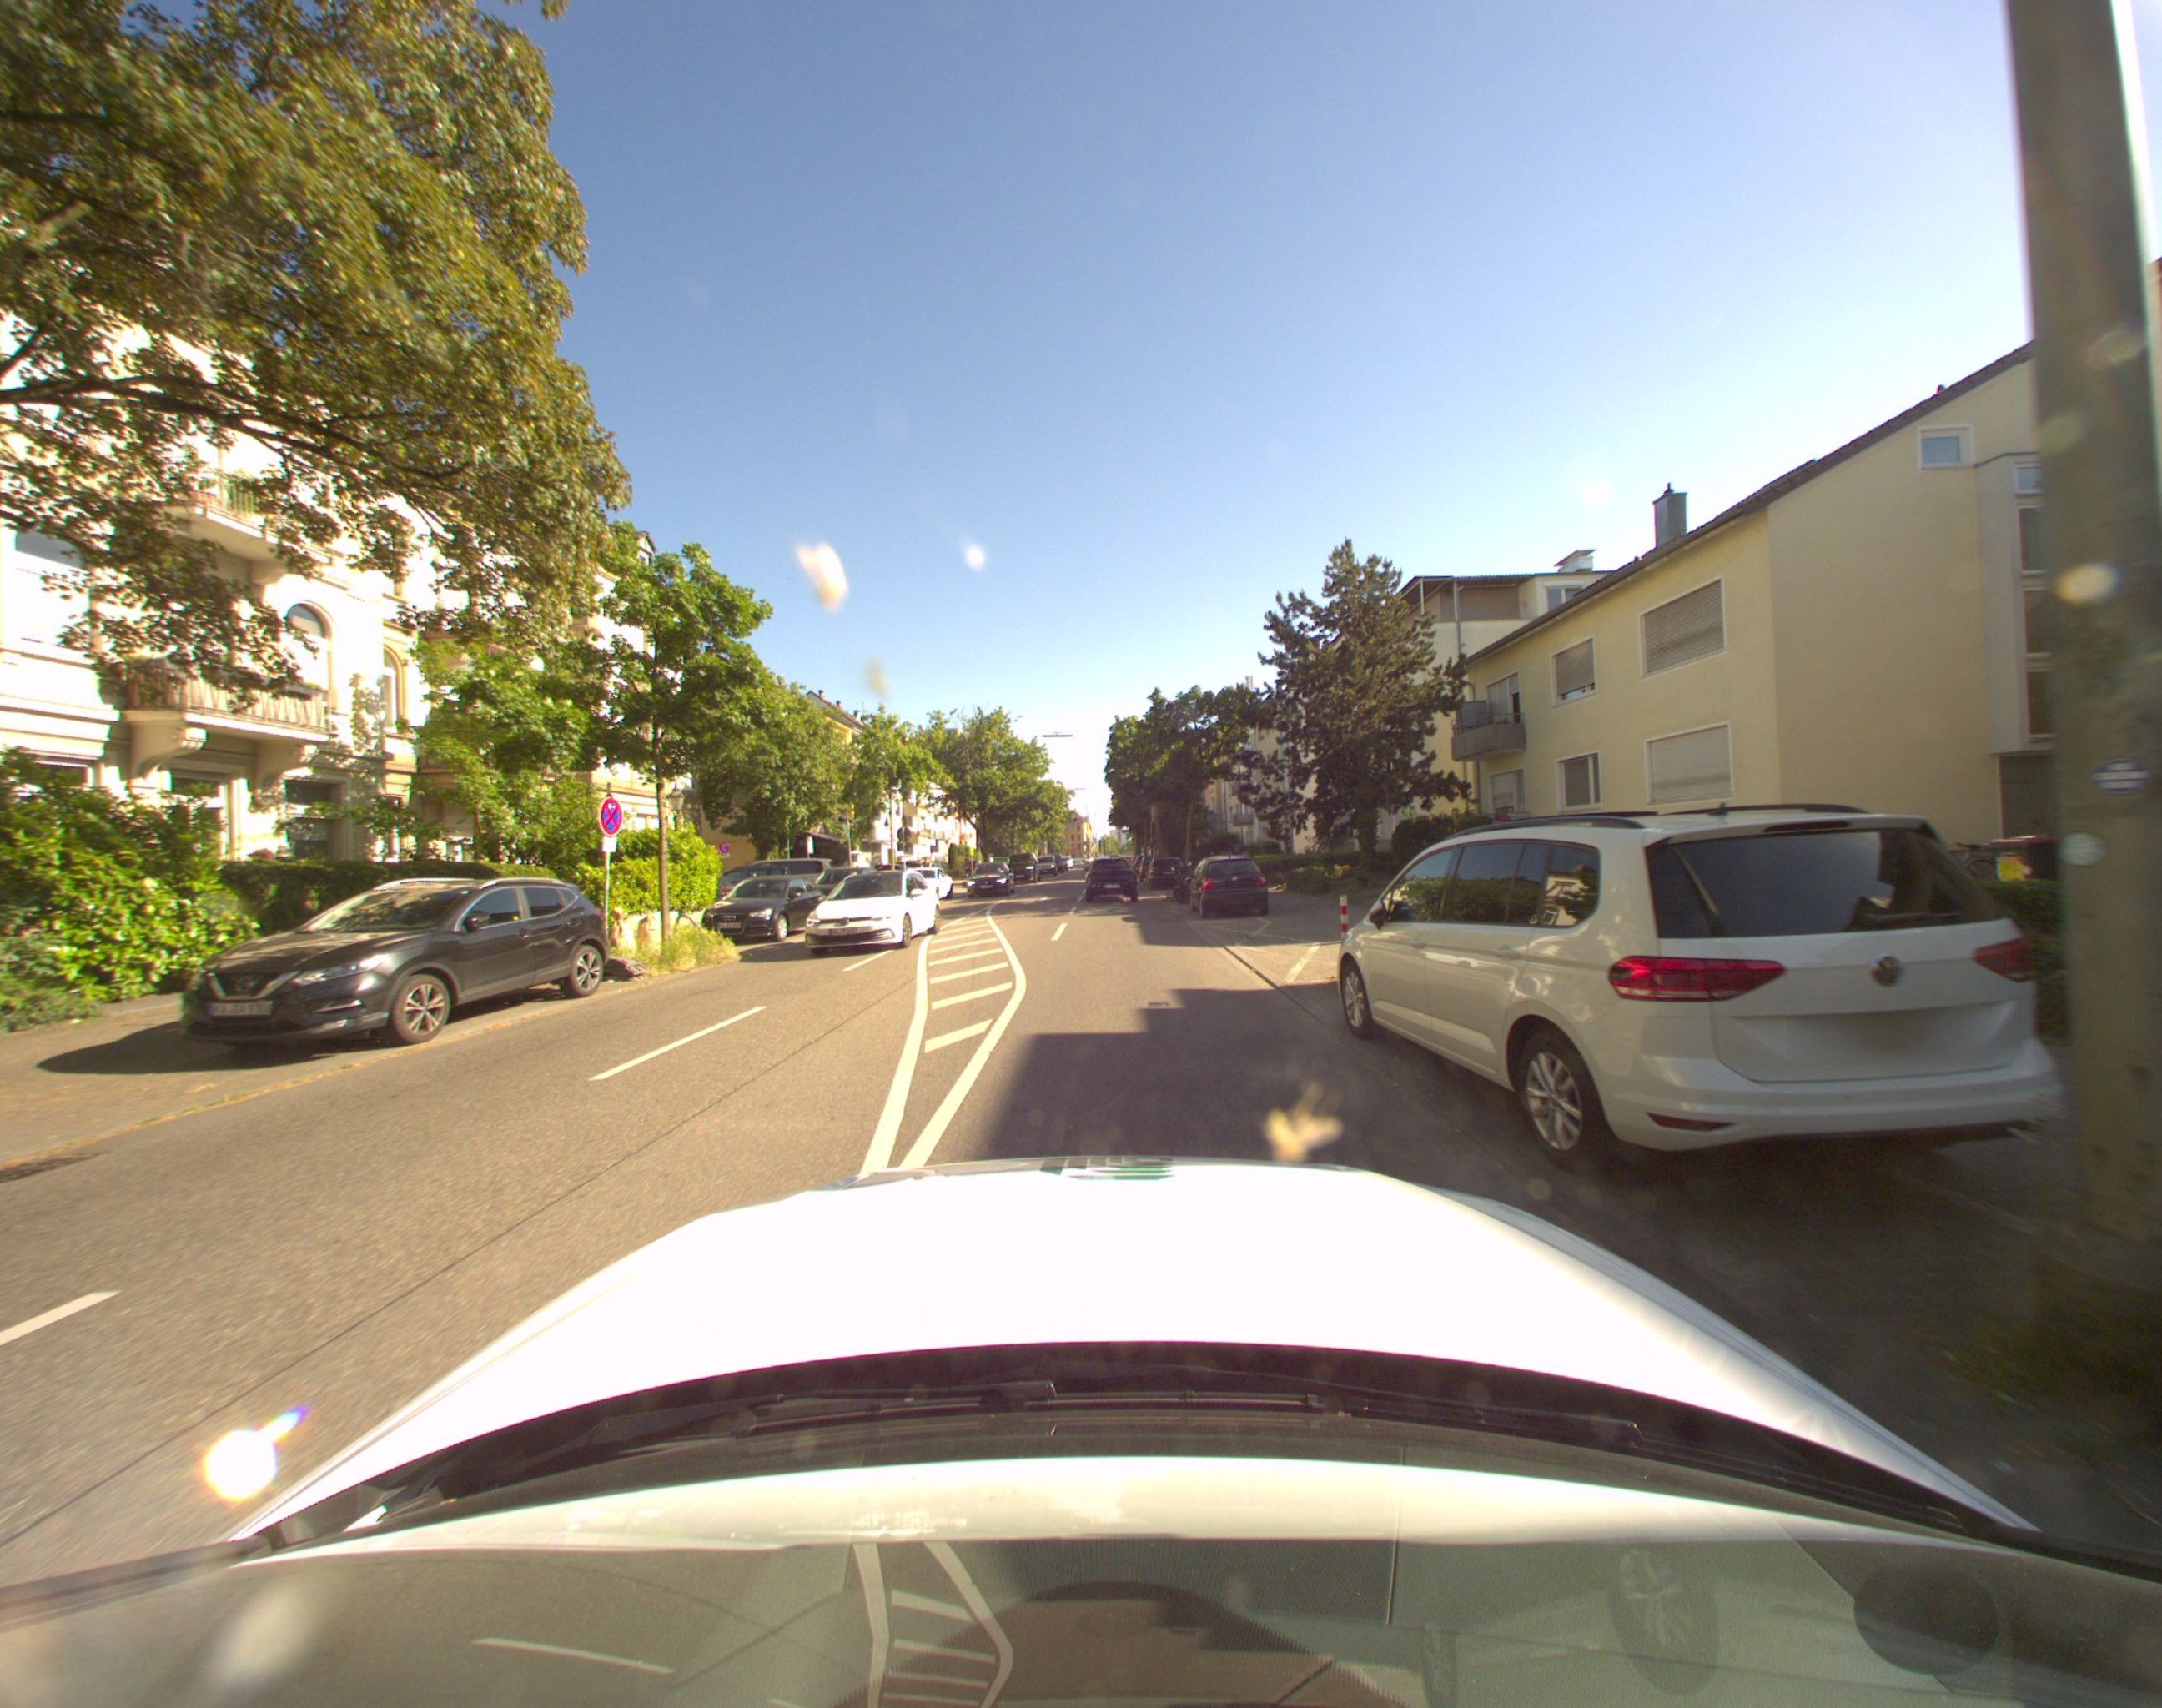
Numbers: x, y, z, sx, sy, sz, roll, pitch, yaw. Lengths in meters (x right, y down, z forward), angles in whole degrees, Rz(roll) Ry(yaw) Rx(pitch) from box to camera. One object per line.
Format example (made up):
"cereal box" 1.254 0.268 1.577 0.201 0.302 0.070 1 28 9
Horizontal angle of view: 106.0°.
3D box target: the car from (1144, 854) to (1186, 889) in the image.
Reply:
"car" 3.762 0.762 37.089 1.580 1.396 4.456 -4 0 2

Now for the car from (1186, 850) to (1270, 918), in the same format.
"car" 3.644 0.695 20.723 1.613 1.499 3.652 -3 0 3

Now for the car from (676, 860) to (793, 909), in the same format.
"car" -12.986 1.107 30.711 3.924 1.644 1.667 -1 0 -23

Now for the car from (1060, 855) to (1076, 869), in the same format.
"car" -1.631 1.004 105.285 1.800 1.648 4.673 -5 0 1

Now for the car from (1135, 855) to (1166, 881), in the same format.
"car" 4.106 0.800 48.367 1.684 1.428 4.152 -3 0 4

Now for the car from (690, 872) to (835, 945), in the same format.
"car" -7.228 1.169 18.934 1.630 1.417 4.091 0 0 2

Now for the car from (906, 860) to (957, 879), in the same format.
"car" -12.753 1.341 69.728 3.973 1.486 1.881 -1 0 1

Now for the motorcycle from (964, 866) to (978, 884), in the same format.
"motorcycle" -7.357 1.424 54.534 0.458 1.125 1.722 -1 0 10

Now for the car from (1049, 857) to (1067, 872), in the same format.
"car" -2.586 1.151 91.998 1.713 1.566 4.344 -5 0 1

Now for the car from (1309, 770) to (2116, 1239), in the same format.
"car" 2.989 0.566 5.238 1.763 1.659 4.341 -3 0 0

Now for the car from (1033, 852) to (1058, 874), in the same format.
"car" -3.046 0.749 71.040 1.809 1.743 4.494 -4 0 1

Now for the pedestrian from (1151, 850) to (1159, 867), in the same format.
"pedestrian" 7.398 0.491 81.685 0.667 1.682 0.776 -3 -1 1

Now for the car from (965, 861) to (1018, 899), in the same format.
"car" -3.883 1.097 35.905 1.685 1.453 4.174 -5 0 1

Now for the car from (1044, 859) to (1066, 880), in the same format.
"car" -2.557 1.531 81.851 1.796 1.911 4.713 -5 0 2

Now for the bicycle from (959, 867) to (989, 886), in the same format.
"bicycle" -6.568 1.360 50.104 1.912 1.135 0.465 -1 0 29

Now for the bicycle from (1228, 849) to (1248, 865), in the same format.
"bicycle" 13.608 0.270 70.732 1.520 1.222 0.466 -5 -1 32

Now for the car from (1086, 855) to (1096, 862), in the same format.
"car" 2.120 0.877 168.598 1.764 1.452 3.889 -2 0 3

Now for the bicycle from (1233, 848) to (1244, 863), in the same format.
"bicycle" 14.023 0.164 72.373 0.589 1.287 1.690 -5 0 2

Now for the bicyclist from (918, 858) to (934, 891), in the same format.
"bicyclist" -8.623 1.137 45.292 0.661 1.824 1.047 -2 -1 -21

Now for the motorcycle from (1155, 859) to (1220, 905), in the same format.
"motorcycle" 3.202 0.851 24.843 0.701 1.271 2.411 -4 0 -26

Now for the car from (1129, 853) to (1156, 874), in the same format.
"car" 4.566 0.692 60.921 1.708 1.489 4.234 -3 0 0

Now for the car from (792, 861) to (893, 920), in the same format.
"car" -7.064 1.016 24.537 1.671 1.555 4.010 -1 0 3

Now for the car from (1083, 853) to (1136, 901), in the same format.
"car" 0.994 0.775 28.775 1.739 1.573 3.559 -1 0 2

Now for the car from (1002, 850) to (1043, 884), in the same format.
"car" -3.655 0.789 51.753 2.009 1.952 5.179 -4 0 1

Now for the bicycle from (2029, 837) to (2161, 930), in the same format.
"bicycle" 11.913 0.324 9.140 0.453 0.992 1.743 -4 -2 2

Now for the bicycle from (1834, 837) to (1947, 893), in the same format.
"bicycle" 15.269 0.207 15.371 1.777 1.014 0.501 -1 -1 -7

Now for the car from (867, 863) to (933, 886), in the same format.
"car" -12.307 1.380 55.408 3.954 1.456 1.742 -1 0 19

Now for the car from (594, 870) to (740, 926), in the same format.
"car" -12.890 1.321 25.521 3.929 1.488 1.618 -1 0 -27

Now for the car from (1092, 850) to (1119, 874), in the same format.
"car" 1.818 0.575 59.706 1.823 1.578 3.841 -2 0 2

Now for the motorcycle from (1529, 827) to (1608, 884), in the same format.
"motorcycle" 12.840 0.033 21.549 0.634 1.375 2.426 -3 0 2

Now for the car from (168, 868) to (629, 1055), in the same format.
"car" -7.314 0.997 9.455 1.619 1.588 4.349 -1 0 1

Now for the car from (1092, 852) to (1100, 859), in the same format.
"car" 3.493 0.384 191.557 1.764 1.452 3.889 -2 0 4

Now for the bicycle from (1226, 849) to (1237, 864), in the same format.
"bicycle" 13.361 0.222 72.335 0.620 1.287 1.843 -5 0 2

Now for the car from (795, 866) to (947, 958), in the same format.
"car" -3.967 1.034 16.142 1.727 1.412 4.193 -4 0 2

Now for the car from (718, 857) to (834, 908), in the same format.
"car" -12.566 1.139 33.611 4.334 1.879 1.865 -1 0 -24

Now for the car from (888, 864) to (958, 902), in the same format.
"car" -6.496 1.161 34.013 1.827 1.389 4.803 -1 0 1
